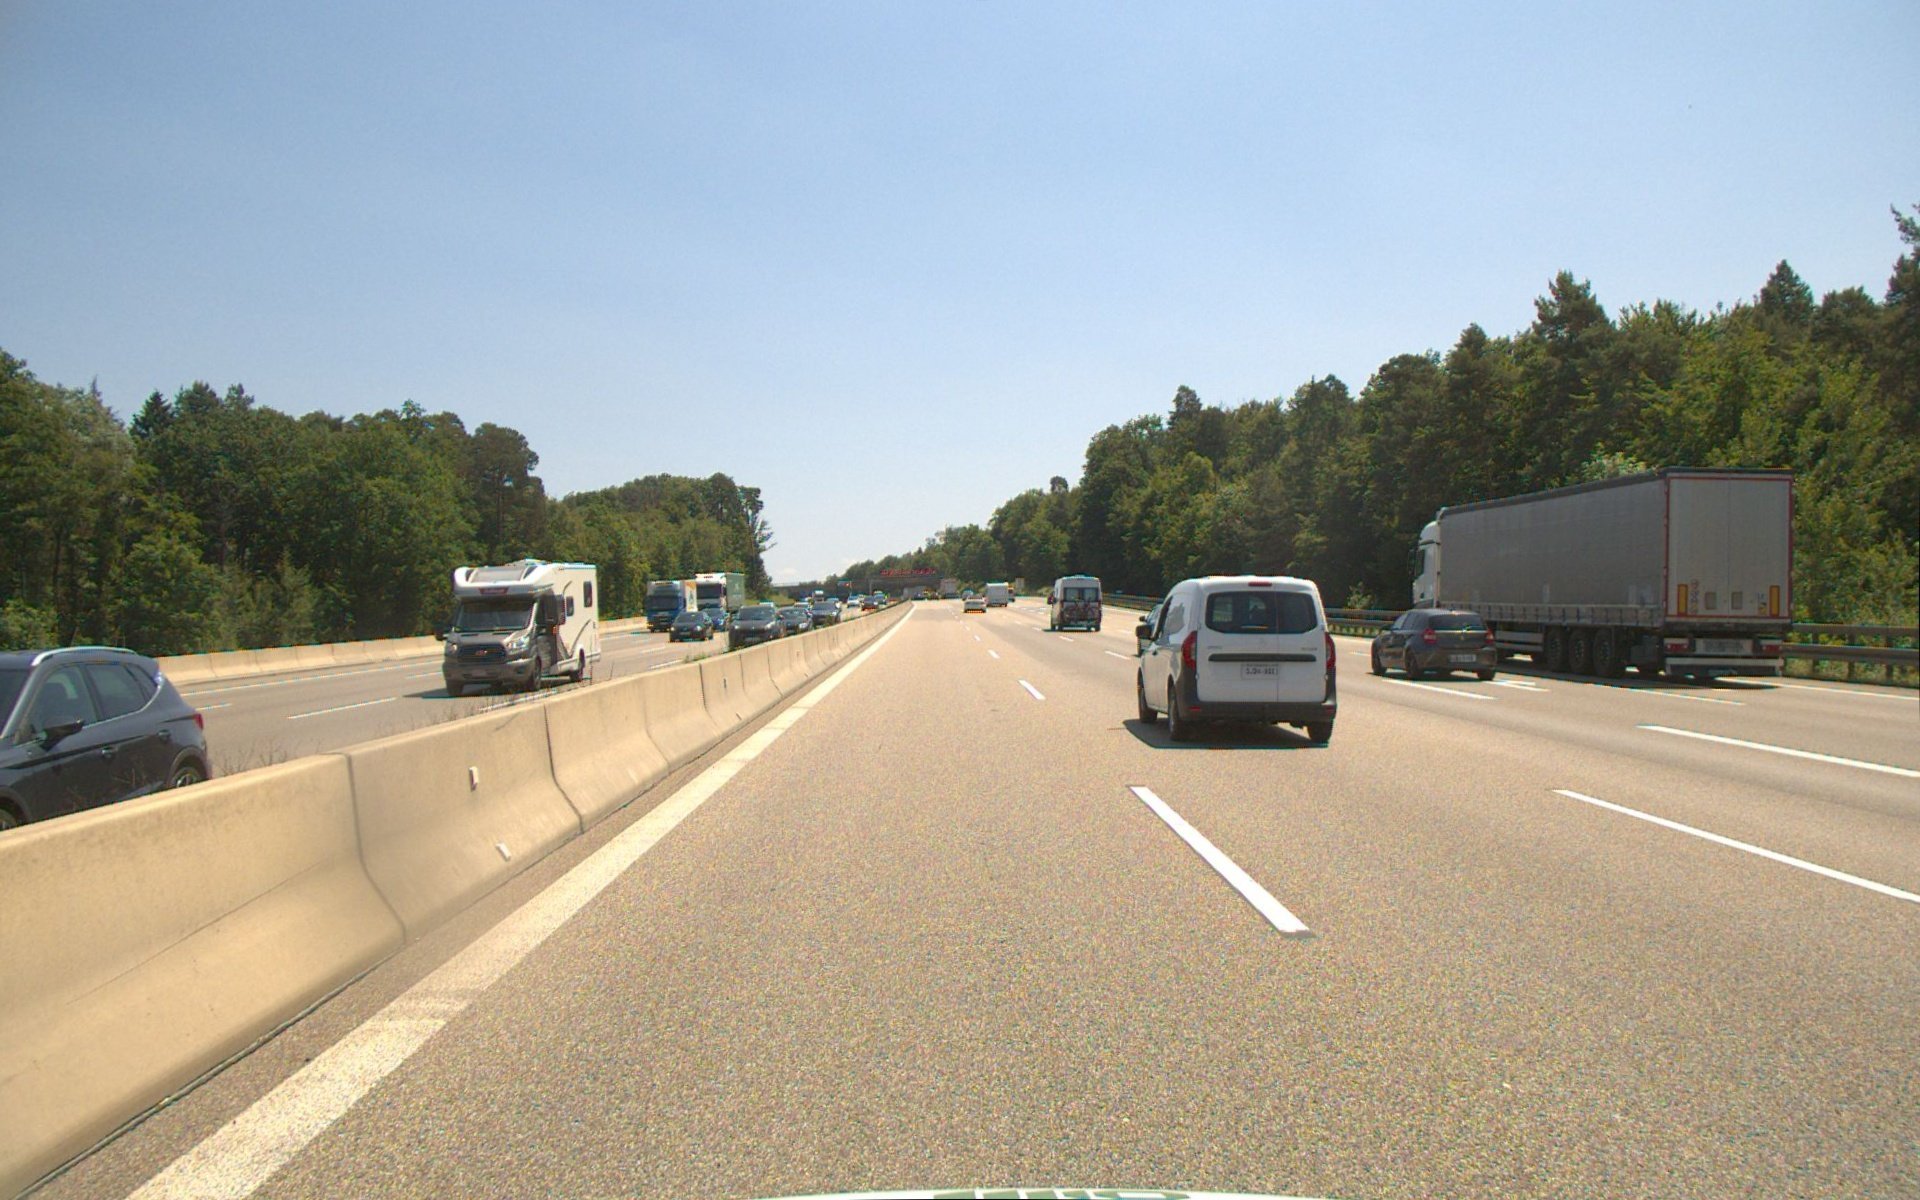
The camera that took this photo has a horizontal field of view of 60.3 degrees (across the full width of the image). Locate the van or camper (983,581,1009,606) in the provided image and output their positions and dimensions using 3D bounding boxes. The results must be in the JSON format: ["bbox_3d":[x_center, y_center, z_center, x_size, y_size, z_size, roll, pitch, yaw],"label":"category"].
[{"bbox_3d":[3.839,-0.686,177.622,2.591,2.583,6.500,-2,-1,-1],"label":"van or camper"}]

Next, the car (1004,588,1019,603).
[{"bbox_3d":[6.733,-0.545,217.093,1.783,1.892,3.999,-1,0,-1],"label":"car"}]

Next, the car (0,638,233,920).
[{"bbox_3d":[-6.375,1.095,10.182,1.688,1.564,5.052,-3,0,-2],"label":"car"}]

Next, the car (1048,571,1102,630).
[{"bbox_3d":[5.455,0.020,78.894,2.100,2.698,5.708,0,0,-1],"label":"car"}]

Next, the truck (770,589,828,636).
[{"bbox_3d":[-7.496,0.617,77.269,2.333,2.049,3.999,-2,-1,-1],"label":"truck"}]

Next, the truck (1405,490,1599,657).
[{"bbox_3d":[14.456,-0.669,44.649,3.188,4.178,5.986,0,0,-1],"label":"truck"}]

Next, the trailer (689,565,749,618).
[{"bbox_3d":[-19.744,-0.617,136.179,3.465,4.140,10.368,-2,-1,-1],"label":"trailer"}]

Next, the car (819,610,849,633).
[{"bbox_3d":[-8.254,1.403,108.638,1.717,1.401,4.490,-2,0,-1],"label":"car"}]

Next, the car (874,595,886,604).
[{"bbox_3d":[-11.980,-0.079,247.507,1.695,1.361,3.642,-1,0,-1],"label":"car"}]

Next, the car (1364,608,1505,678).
[{"bbox_3d":[9.805,0.852,34.512,1.636,1.296,4.289,-1,0,-1],"label":"car"}]

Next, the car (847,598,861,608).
[{"bbox_3d":[-14.323,0.431,223.469,1.695,1.361,3.642,-1,0,-1],"label":"car"}]

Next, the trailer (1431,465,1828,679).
[{"bbox_3d":[14.613,-0.536,38.122,3.221,3.999,13.886,0,0,-1],"label":"trailer"}]

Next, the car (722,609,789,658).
[{"bbox_3d":[-7.371,1.190,60.040,1.953,1.646,3.999,-1,0,-1],"label":"car"}]

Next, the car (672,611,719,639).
[{"bbox_3d":[-13.397,1.266,83.865,1.798,1.361,3.642,-2,-1,-1],"label":"car"}]

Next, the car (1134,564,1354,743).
[{"bbox_3d":[3.217,0.585,19.631,1.821,1.858,4.611,0,-1,0],"label":"car"}]

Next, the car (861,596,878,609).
[{"bbox_3d":[-10.053,0.300,183.842,1.798,1.361,3.642,-1,0,-1],"label":"car"}]

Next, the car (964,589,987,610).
[{"bbox_3d":[1.312,0.007,141.790,1.805,1.657,4.552,-2,-1,0],"label":"car"}]

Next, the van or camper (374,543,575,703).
[{"bbox_3d":[-10.577,0.470,36.898,2.153,3.110,8.026,-2,0,-1],"label":"van or camper"}]

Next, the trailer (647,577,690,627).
[{"bbox_3d":[-19.751,0.173,112.205,2.449,3.269,4.711,-2,-1,-7],"label":"trailer"}]
